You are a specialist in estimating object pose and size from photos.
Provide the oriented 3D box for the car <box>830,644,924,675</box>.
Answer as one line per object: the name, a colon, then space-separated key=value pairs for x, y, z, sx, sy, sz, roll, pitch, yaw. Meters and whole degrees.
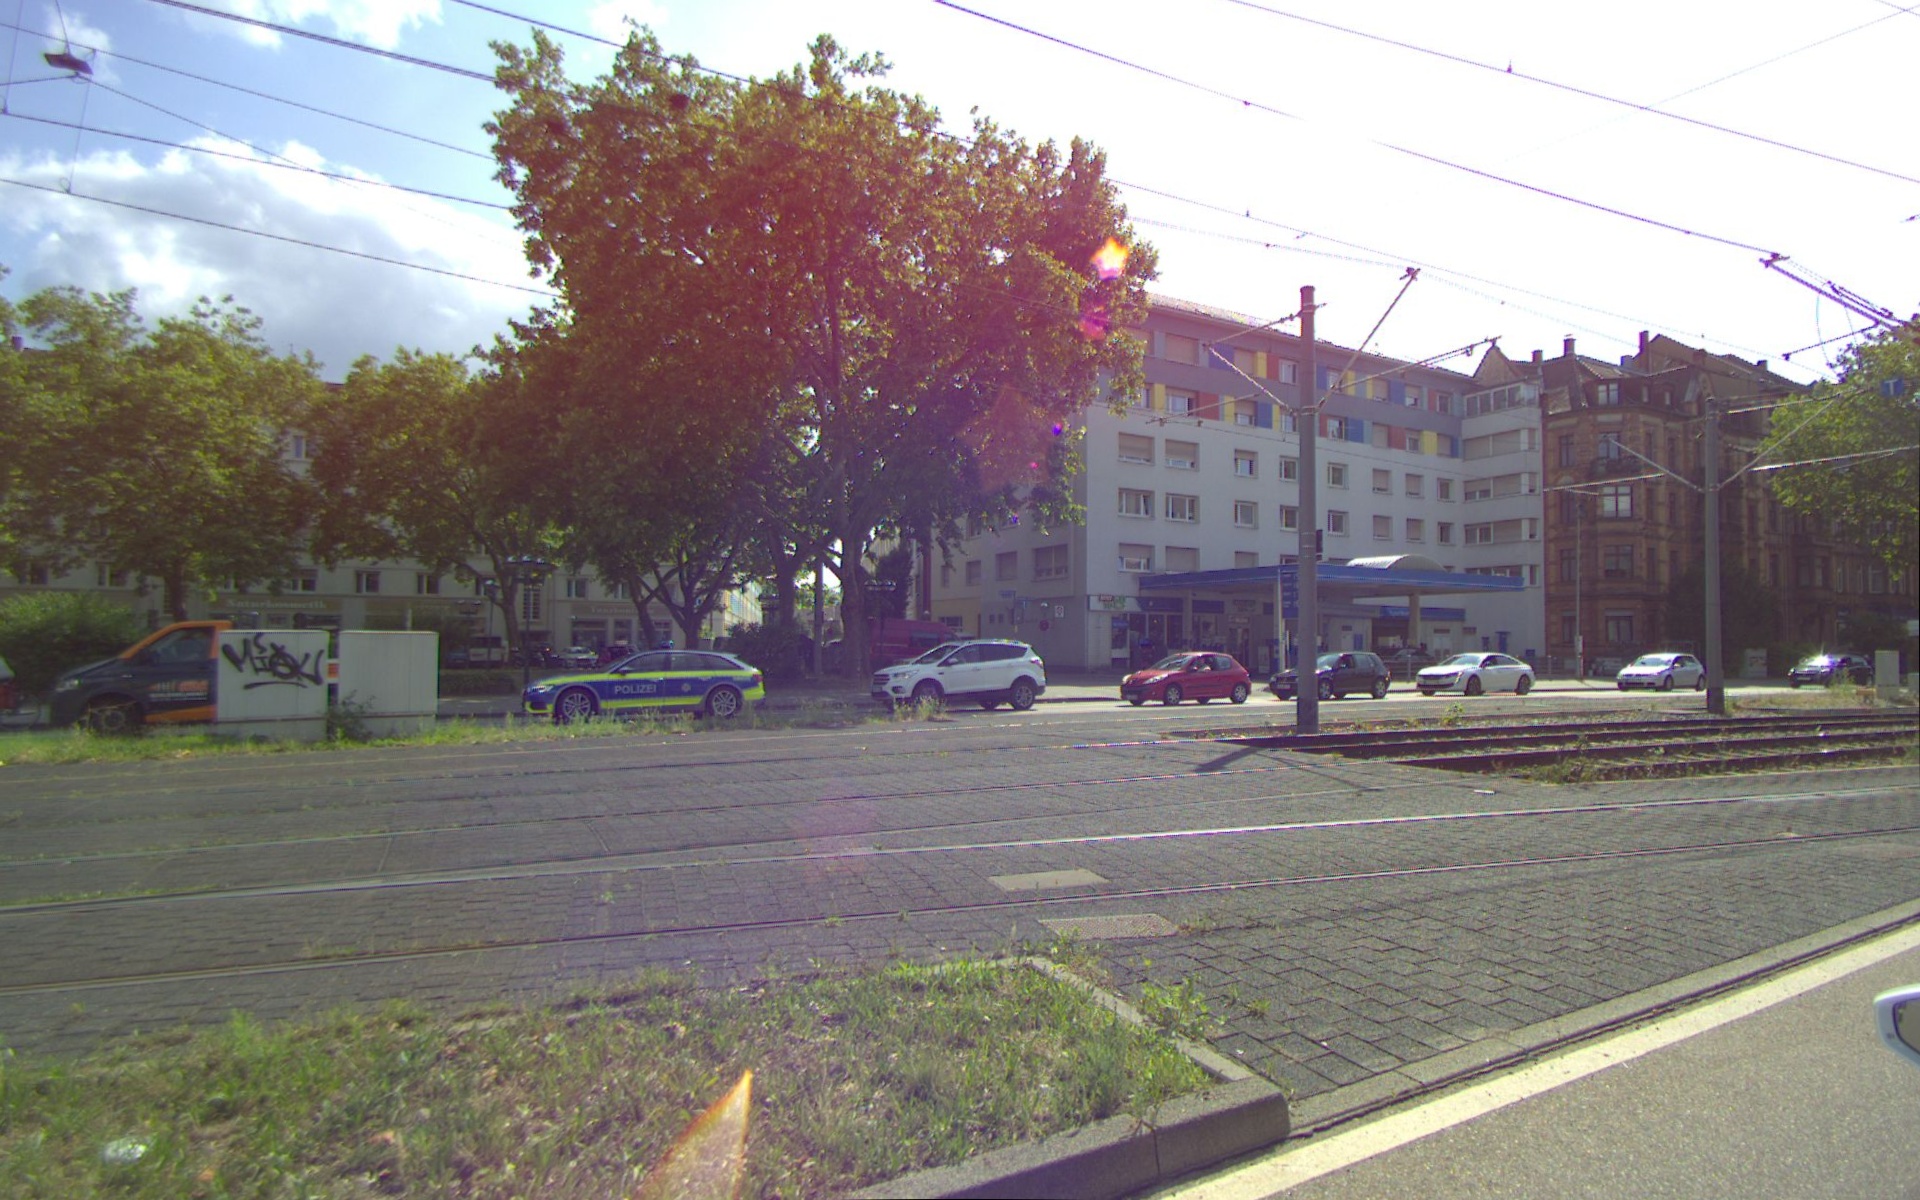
car: x=-3.660 y=2.641 z=44.677 sx=3.954 sy=1.310 sz=1.467 roll=2 pitch=-5 yaw=-31

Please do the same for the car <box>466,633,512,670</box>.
car: x=-28.291 y=3.124 z=60.479 sx=2.222 sy=2.039 sz=3.916 roll=1 pitch=-5 yaw=-22

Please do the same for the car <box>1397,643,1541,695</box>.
car: x=17.234 y=2.292 z=33.944 sx=5.016 sy=1.628 sz=1.938 roll=2 pitch=-3 yaw=-30

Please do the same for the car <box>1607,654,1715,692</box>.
car: x=27.842 y=2.855 z=39.853 sx=4.350 sy=1.435 sz=1.715 roll=1 pitch=-4 yaw=-28

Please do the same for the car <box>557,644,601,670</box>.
car: x=-23.811 y=3.555 z=62.687 sx=1.831 sy=1.553 sz=4.049 roll=2 pitch=-3 yaw=-31

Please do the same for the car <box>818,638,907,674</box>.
car: x=-4.568 y=2.630 z=47.231 sx=3.954 sy=1.624 sz=1.519 roll=2 pitch=-4 yaw=-31

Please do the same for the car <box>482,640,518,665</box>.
car: x=-32.531 y=3.712 z=70.965 sx=1.831 sy=1.681 sz=4.049 roll=2 pitch=-3 yaw=-31

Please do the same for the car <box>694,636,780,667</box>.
car: x=-14.669 y=3.406 z=66.183 sx=5.196 sy=1.896 sz=1.983 roll=2 pitch=-5 yaw=-33

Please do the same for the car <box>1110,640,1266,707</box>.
car: x=6.279 y=1.969 z=27.537 sx=4.094 sy=1.628 sz=1.705 roll=0 pitch=-2 yaw=-30

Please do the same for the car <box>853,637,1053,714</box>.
car: x=-0.131 y=1.775 z=24.491 sx=4.623 sy=1.628 sz=1.752 roll=0 pitch=-2 yaw=-30

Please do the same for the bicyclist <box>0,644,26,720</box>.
bicyclist: x=-17.578 y=1.483 z=18.131 sx=0.896 sy=1.361 sz=0.469 roll=1 pitch=-2 yaw=-21

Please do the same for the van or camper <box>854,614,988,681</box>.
van or camper: x=-1.643 y=2.054 z=42.609 sx=5.283 sy=2.675 sz=2.095 roll=1 pitch=-5 yaw=-28

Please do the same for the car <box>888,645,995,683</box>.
car: x=-0.717 y=2.517 z=39.855 sx=3.954 sy=1.429 sz=1.744 roll=2 pitch=-3 yaw=-31

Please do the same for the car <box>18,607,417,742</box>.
car: x=-12.400 y=1.169 z=17.360 sx=5.272 sy=2.013 sz=2.065 roll=0 pitch=-2 yaw=-30

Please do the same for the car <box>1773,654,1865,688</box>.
car: x=37.916 y=3.103 z=44.341 sx=3.730 sy=1.435 sz=1.664 roll=1 pitch=-2 yaw=-24

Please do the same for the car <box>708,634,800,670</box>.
car: x=-12.577 y=3.218 z=61.528 sx=5.200 sy=2.113 sz=1.982 roll=2 pitch=-5 yaw=-34

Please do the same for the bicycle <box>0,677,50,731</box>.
bicycle: x=-17.602 y=1.876 z=18.110 sx=1.691 sy=0.933 sz=0.469 roll=1 pitch=-2 yaw=-21

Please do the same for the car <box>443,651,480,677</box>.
car: x=-34.406 y=4.469 z=69.409 sx=1.905 sy=1.689 sz=3.719 roll=1 pitch=-5 yaw=-22

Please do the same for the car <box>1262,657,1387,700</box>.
car: x=11.090 y=2.345 z=30.541 sx=3.588 sy=1.204 sz=1.610 roll=1 pitch=-3 yaw=-28

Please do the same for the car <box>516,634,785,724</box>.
car: x=-6.376 y=1.597 z=20.927 sx=5.092 sy=1.673 sz=1.859 roll=1 pitch=-4 yaw=-30
